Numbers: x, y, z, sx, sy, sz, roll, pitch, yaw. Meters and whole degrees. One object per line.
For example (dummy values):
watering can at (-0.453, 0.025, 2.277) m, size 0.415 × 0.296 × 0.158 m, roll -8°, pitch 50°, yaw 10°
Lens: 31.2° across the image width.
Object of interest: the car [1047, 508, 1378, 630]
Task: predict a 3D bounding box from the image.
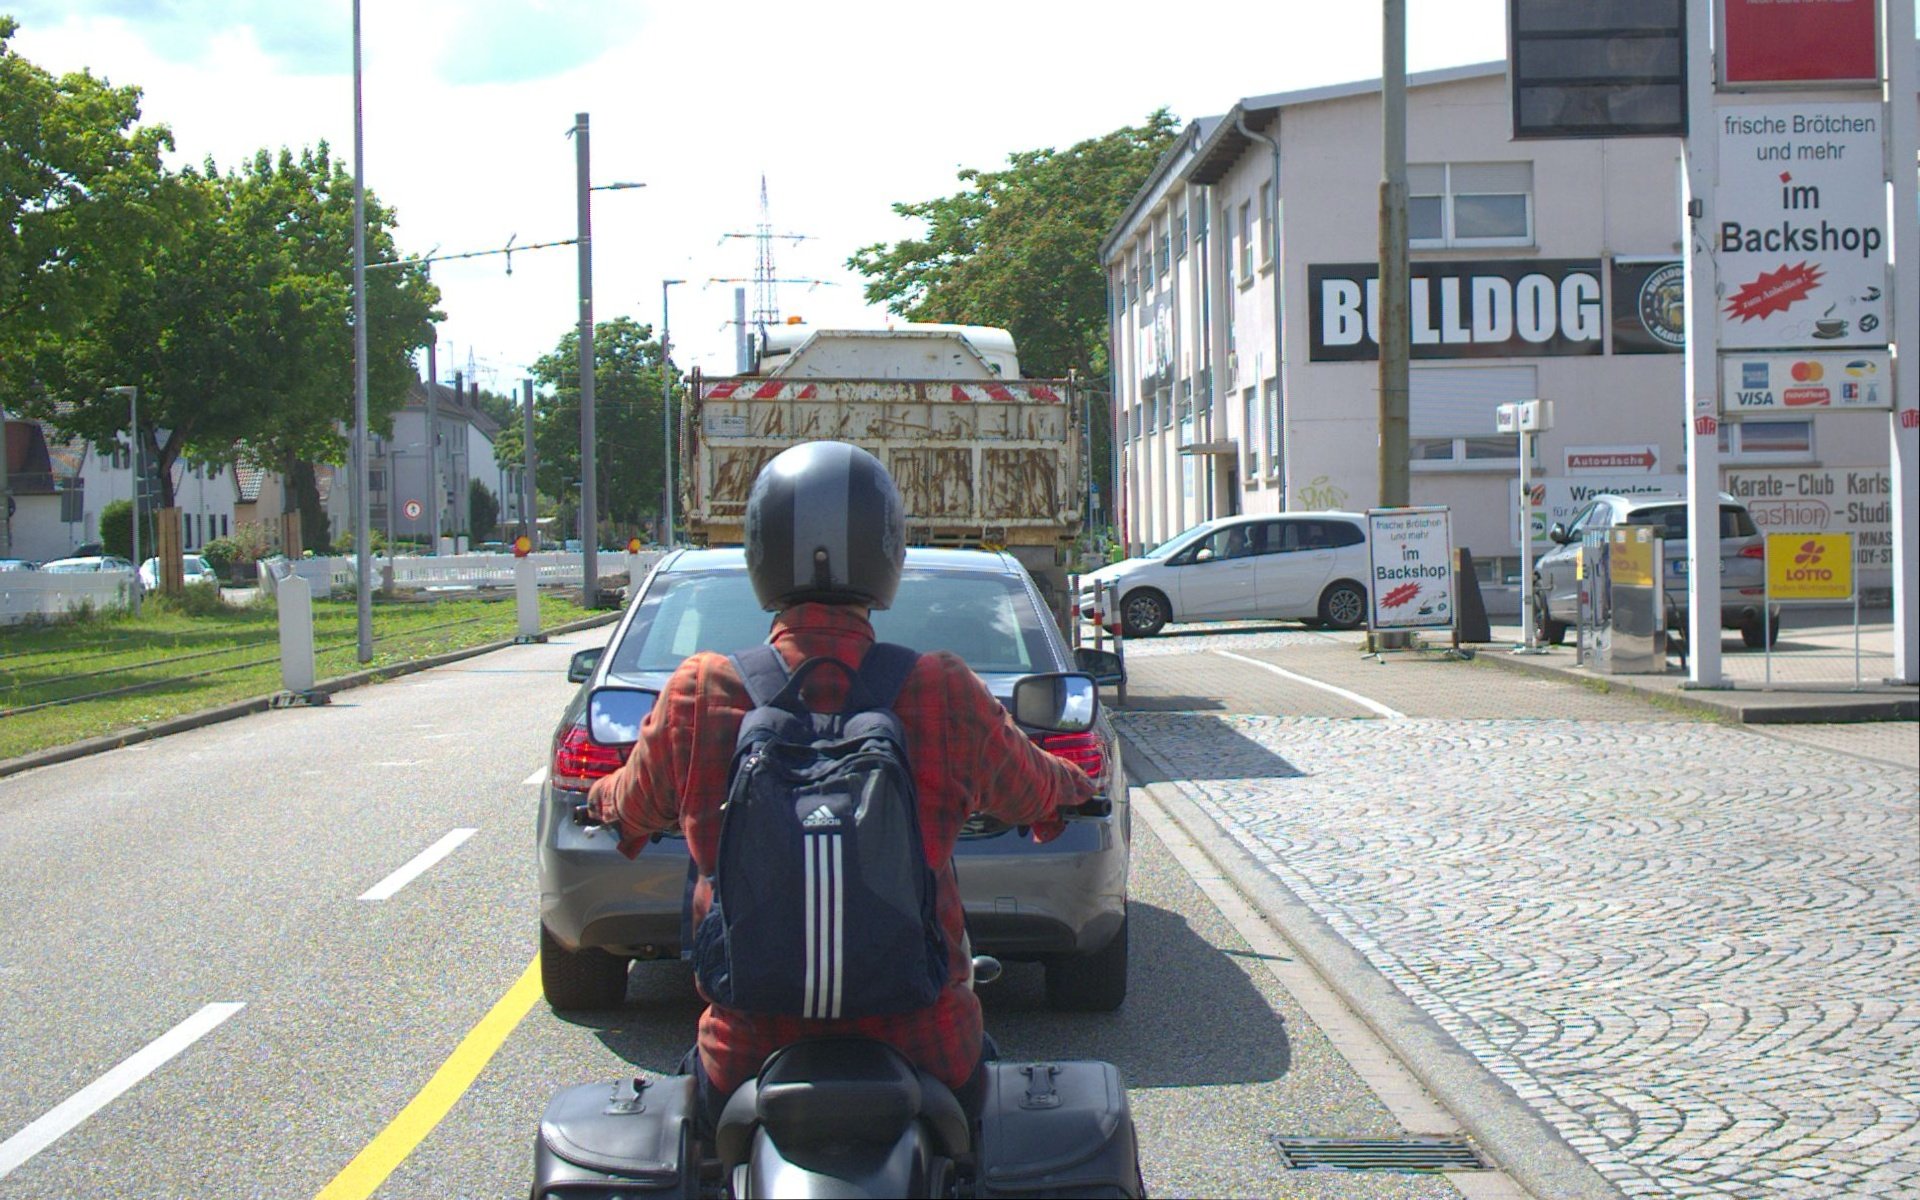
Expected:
car at (3.431, -0.436, 47.025) m, size 4.229 × 1.537 × 1.673 m, roll -1°, pitch 1°, yaw -8°

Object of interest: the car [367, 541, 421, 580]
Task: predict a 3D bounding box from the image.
car at (-26.435, -1.856, 160.663) m, size 1.776 × 1.717 × 4.250 m, roll -1°, pitch 1°, yaw 0°

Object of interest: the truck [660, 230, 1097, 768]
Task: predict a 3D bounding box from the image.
truck at (-0.548, -0.716, 25.365) m, size 2.638 × 3.285 × 8.057 m, roll -1°, pitch 1°, yaw -1°

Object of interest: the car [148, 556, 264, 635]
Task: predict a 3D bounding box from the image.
car at (-17.500, -0.133, 79.962) m, size 1.776 × 1.717 × 4.128 m, roll -1°, pitch 1°, yaw 0°

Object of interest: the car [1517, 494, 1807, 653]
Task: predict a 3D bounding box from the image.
car at (7.374, -0.307, 36.522) m, size 1.667 × 1.557 × 4.245 m, roll -1°, pitch 1°, yaw -8°

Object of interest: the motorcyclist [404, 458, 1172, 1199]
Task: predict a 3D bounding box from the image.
motorcyclist at (-0.222, 0.612, 5.028) m, size 0.979 × 1.597 × 1.088 m, roll -1°, pitch 1°, yaw -1°

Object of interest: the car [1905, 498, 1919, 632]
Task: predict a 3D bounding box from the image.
car at (11.729, -0.382, 37.091) m, size 1.806 × 1.498 × 3.834 m, roll -1°, pitch 1°, yaw -3°

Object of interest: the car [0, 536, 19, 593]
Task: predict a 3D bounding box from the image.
car at (-30.046, -1.064, 104.407) m, size 1.776 × 1.717 × 4.128 m, roll -1°, pitch 1°, yaw 0°

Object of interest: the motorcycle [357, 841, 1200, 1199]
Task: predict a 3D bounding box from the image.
motorcycle at (-0.218, 0.955, 5.340) m, size 0.979 × 0.894 × 2.653 m, roll -1°, pitch 1°, yaw -1°

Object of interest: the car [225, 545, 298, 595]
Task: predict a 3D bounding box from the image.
car at (-25.420, -1.102, 125.244) m, size 1.776 × 1.717 × 4.128 m, roll -1°, pitch 1°, yaw 0°

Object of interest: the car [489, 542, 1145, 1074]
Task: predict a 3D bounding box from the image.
car at (-0.426, 0.554, 11.666) m, size 1.823 × 1.447 × 4.000 m, roll 1°, pitch 1°, yaw -1°
